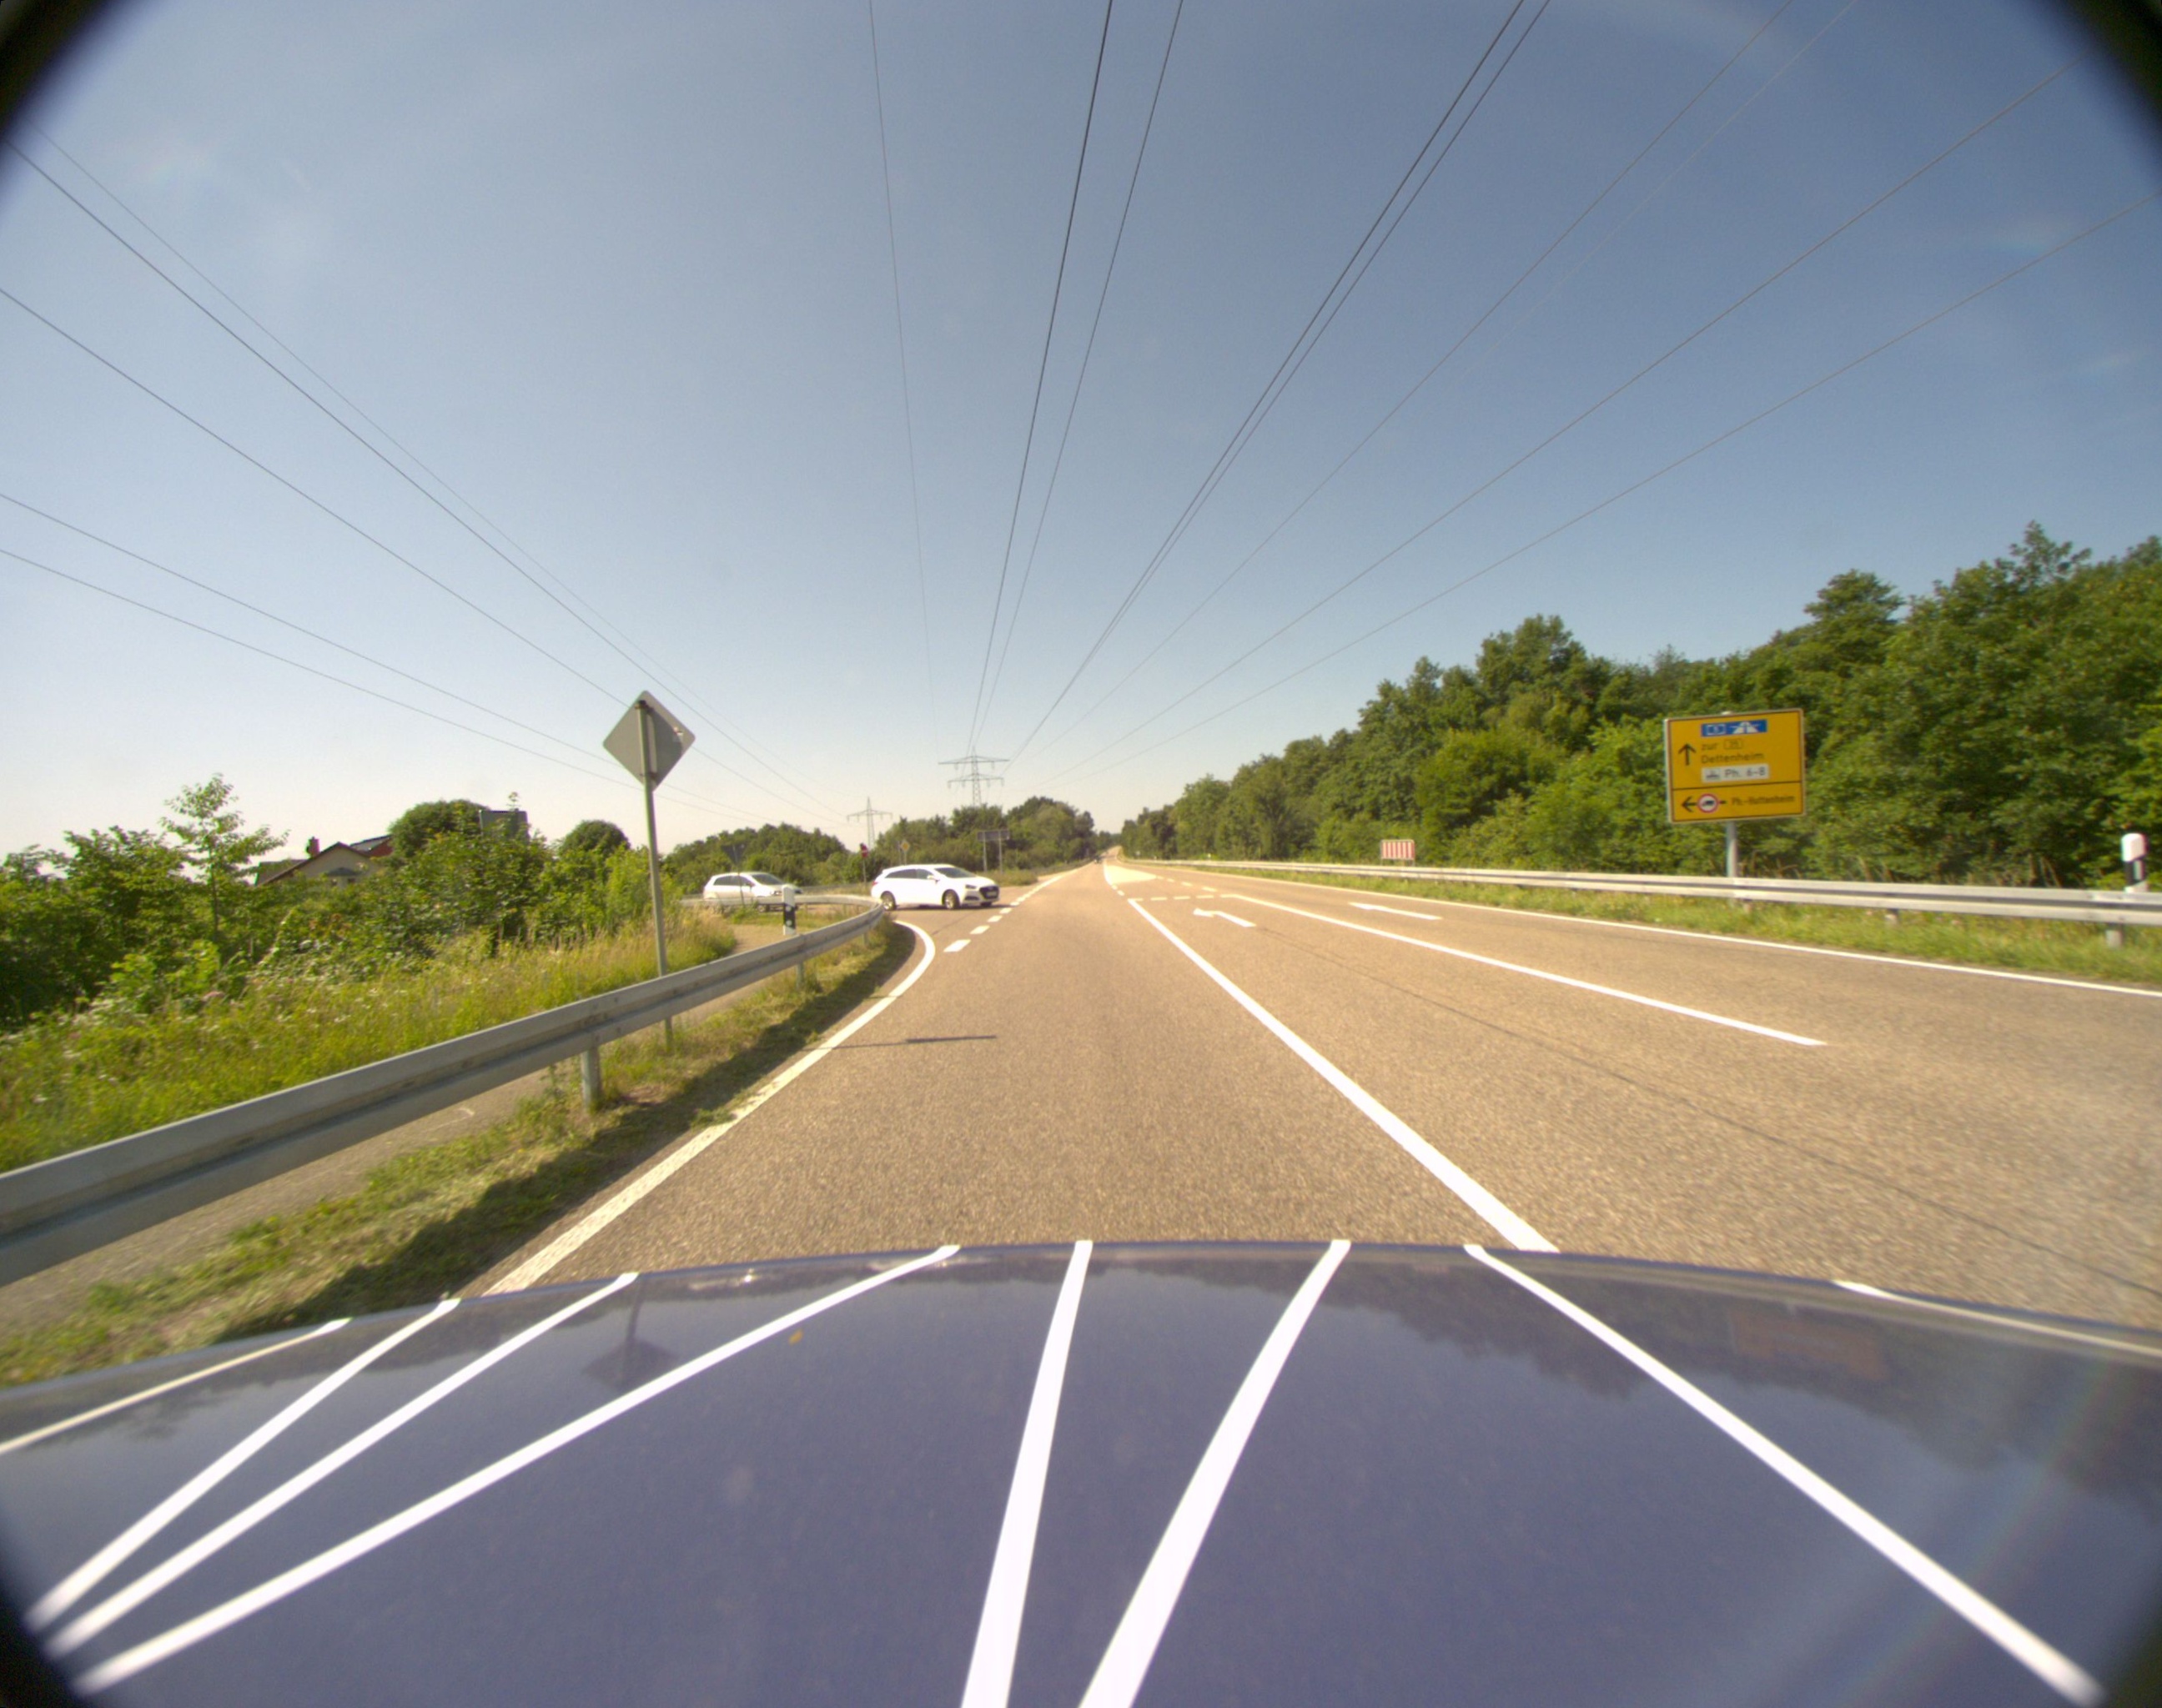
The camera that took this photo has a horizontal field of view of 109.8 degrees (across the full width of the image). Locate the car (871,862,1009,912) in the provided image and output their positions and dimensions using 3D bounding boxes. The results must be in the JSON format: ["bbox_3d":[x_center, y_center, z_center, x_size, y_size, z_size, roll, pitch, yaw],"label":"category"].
[{"bbox_3d":[-4.709,1.088,25.143,4.461,1.472,1.688,-2,1,33],"label":"car"}]

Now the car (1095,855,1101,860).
[{"bbox_3d":[4.054,0.844,183.309,1.511,1.237,3.074,-2,1,1],"label":"car"}]

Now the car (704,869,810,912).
[{"bbox_3d":[-12.525,1.419,29.410,3.653,1.460,1.552,-2,1,21],"label":"car"}]
